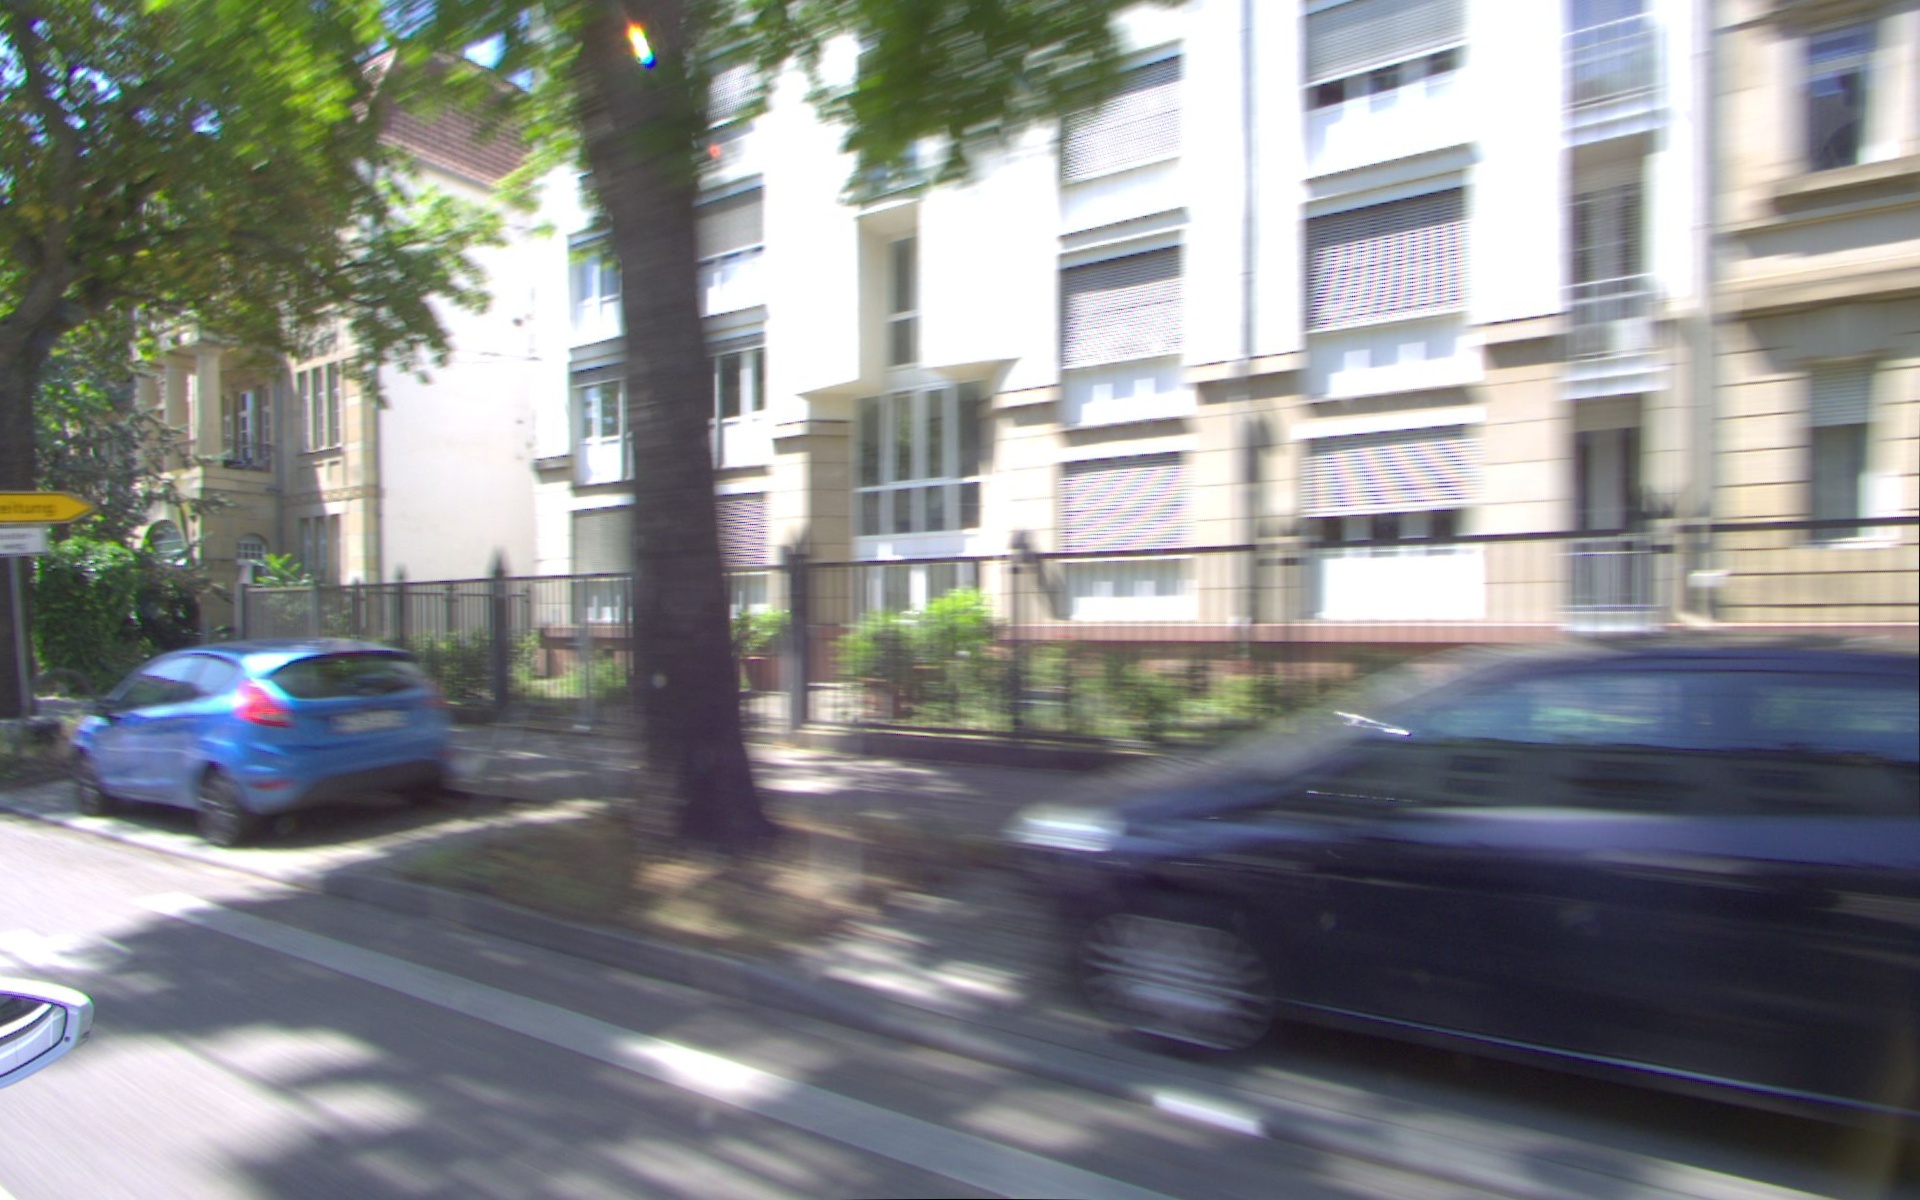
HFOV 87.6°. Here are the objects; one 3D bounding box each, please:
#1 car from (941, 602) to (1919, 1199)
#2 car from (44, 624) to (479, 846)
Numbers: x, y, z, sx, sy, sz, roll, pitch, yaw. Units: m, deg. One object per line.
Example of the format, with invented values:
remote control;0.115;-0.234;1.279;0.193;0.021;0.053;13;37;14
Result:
car;2.008;0.798;3.686;3.863;1.516;1.674;-1;0;32
car;-6.135;0.992;8.695;3.943;1.481;1.680;-1;0;32
